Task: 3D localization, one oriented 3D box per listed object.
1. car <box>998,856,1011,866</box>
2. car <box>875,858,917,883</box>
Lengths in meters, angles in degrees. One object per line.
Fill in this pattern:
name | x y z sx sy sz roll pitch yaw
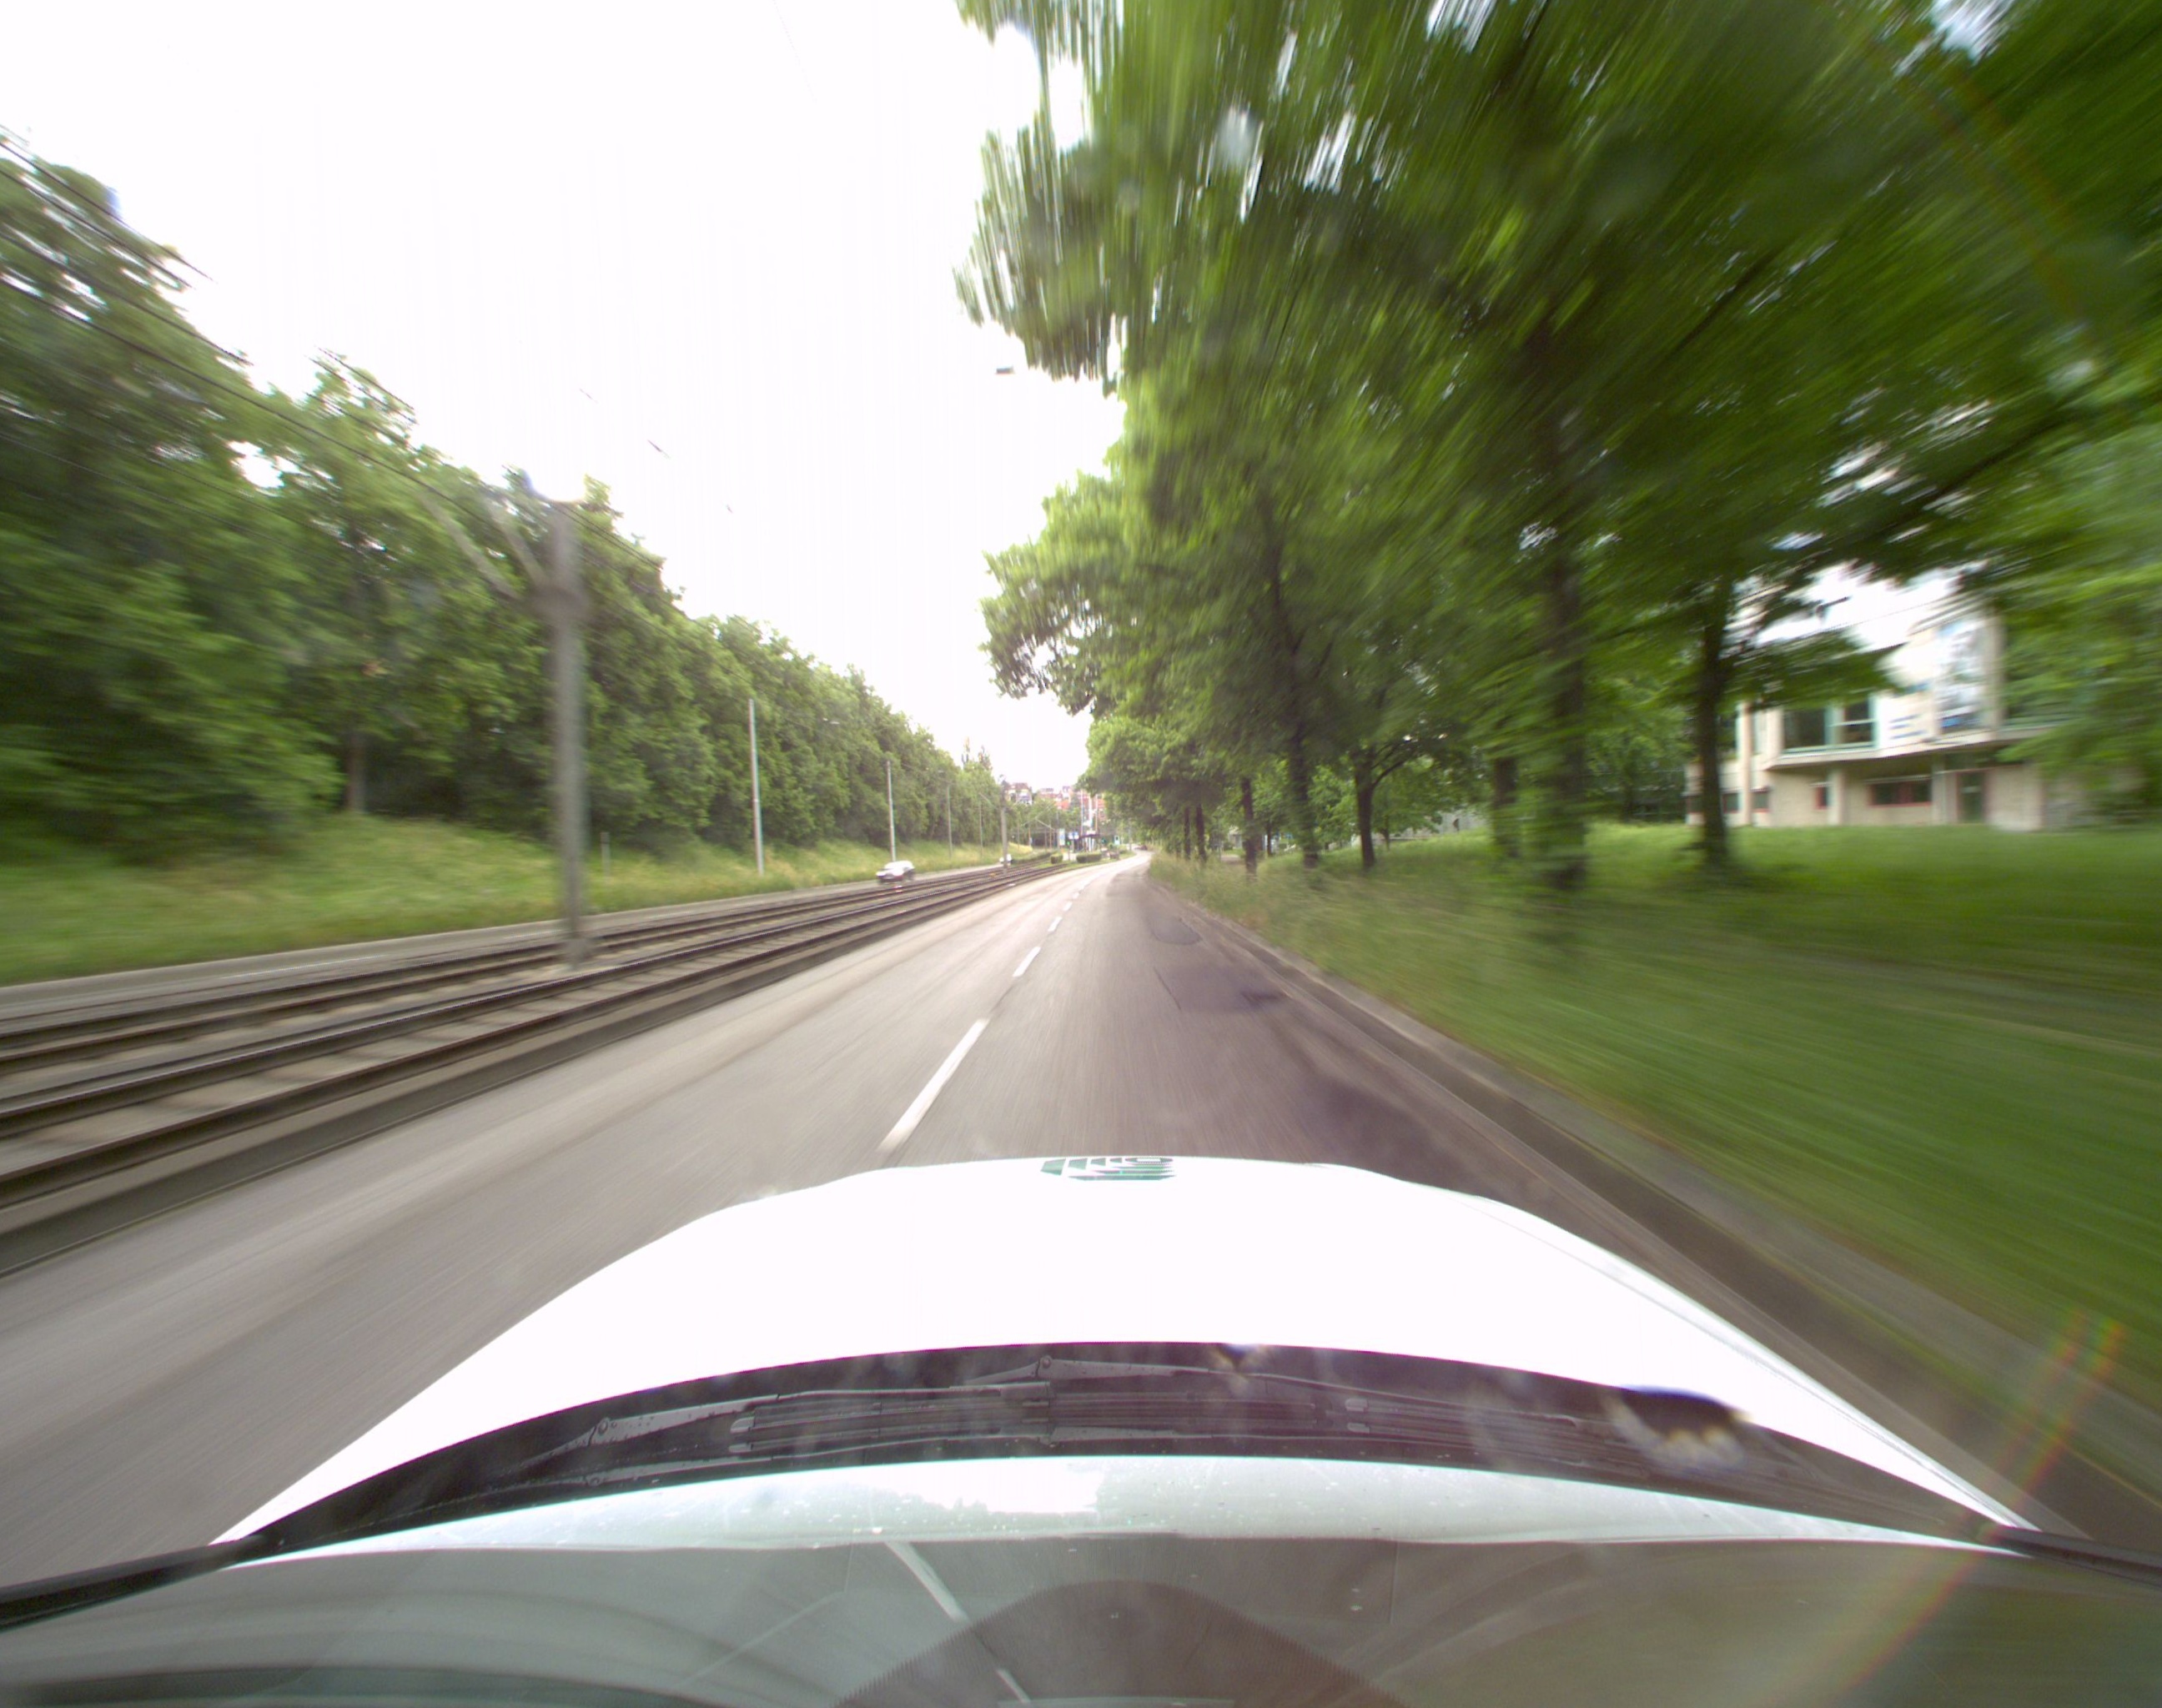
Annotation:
car | -13.308 1.152 141.154 1.779 1.552 3.960 -3 0 0
car | -12.013 1.056 53.119 1.664 1.443 4.027 -4 0 1
